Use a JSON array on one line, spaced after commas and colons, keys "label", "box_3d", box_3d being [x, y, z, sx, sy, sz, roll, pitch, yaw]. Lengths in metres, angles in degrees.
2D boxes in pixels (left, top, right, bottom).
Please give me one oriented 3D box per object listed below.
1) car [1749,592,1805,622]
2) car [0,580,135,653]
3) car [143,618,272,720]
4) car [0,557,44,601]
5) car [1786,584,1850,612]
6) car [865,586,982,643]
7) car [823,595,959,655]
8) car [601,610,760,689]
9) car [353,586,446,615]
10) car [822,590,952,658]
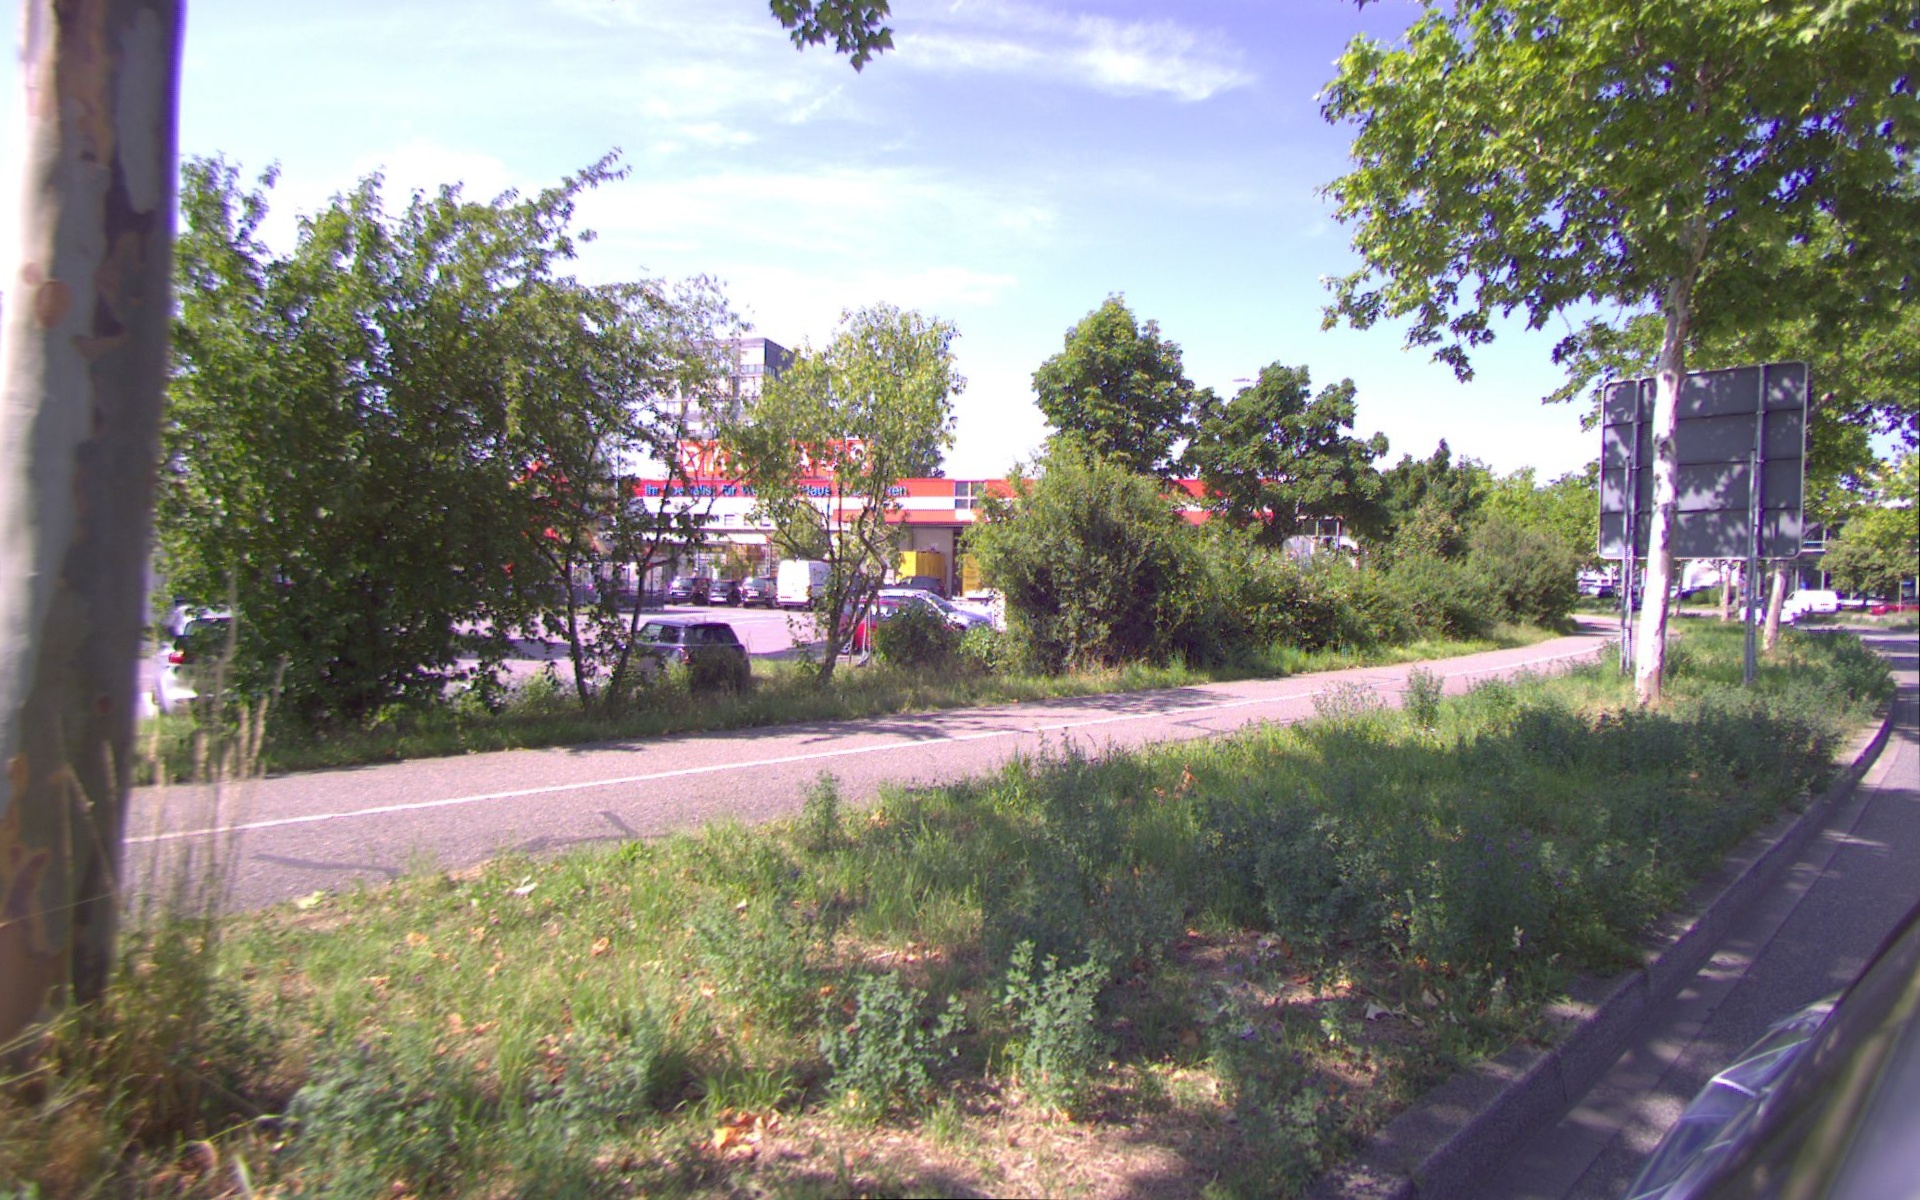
[{"label": "car", "box_3d": [44.306, 0.345, 54.969, 1.811, 1.540, 4.162, 1, 1, 31]}, {"label": "car", "box_3d": [-21.099, 0.332, 22.451, 1.970, 1.527, 3.984, 1, 1, 14]}, {"label": "car", "box_3d": [-11.070, 0.915, 14.791, 1.175, 1.240, 3.966, -1, 0, -42]}, {"label": "car", "box_3d": [-39.872, -0.837, 40.755, 1.976, 1.772, 3.972, -1, 0, 21]}, {"label": "car", "box_3d": [63.865, -0.171, 75.396, 1.973, 2.039, 4.492, 0, 1, 17]}, {"label": "car", "box_3d": [-1.074, 0.421, 30.426, 3.190, 1.630, 1.532, -1, 2, 15]}, {"label": "car", "box_3d": [-1.897, 0.686, 28.160, 3.437, 1.545, 1.594, -1, 2, 15]}, {"label": "car", "box_3d": [-5.665, 0.920, 20.308, 1.711, 1.238, 3.588, -1, 2, -41]}, {"label": "car", "box_3d": [-22.221, 0.015, 40.232, 1.496, 1.073, 3.174, -1, 0, 13]}, {"label": "car", "box_3d": [-2.003, 0.624, 28.152, 3.233, 1.682, 1.597, 3, 1, 16]}]
